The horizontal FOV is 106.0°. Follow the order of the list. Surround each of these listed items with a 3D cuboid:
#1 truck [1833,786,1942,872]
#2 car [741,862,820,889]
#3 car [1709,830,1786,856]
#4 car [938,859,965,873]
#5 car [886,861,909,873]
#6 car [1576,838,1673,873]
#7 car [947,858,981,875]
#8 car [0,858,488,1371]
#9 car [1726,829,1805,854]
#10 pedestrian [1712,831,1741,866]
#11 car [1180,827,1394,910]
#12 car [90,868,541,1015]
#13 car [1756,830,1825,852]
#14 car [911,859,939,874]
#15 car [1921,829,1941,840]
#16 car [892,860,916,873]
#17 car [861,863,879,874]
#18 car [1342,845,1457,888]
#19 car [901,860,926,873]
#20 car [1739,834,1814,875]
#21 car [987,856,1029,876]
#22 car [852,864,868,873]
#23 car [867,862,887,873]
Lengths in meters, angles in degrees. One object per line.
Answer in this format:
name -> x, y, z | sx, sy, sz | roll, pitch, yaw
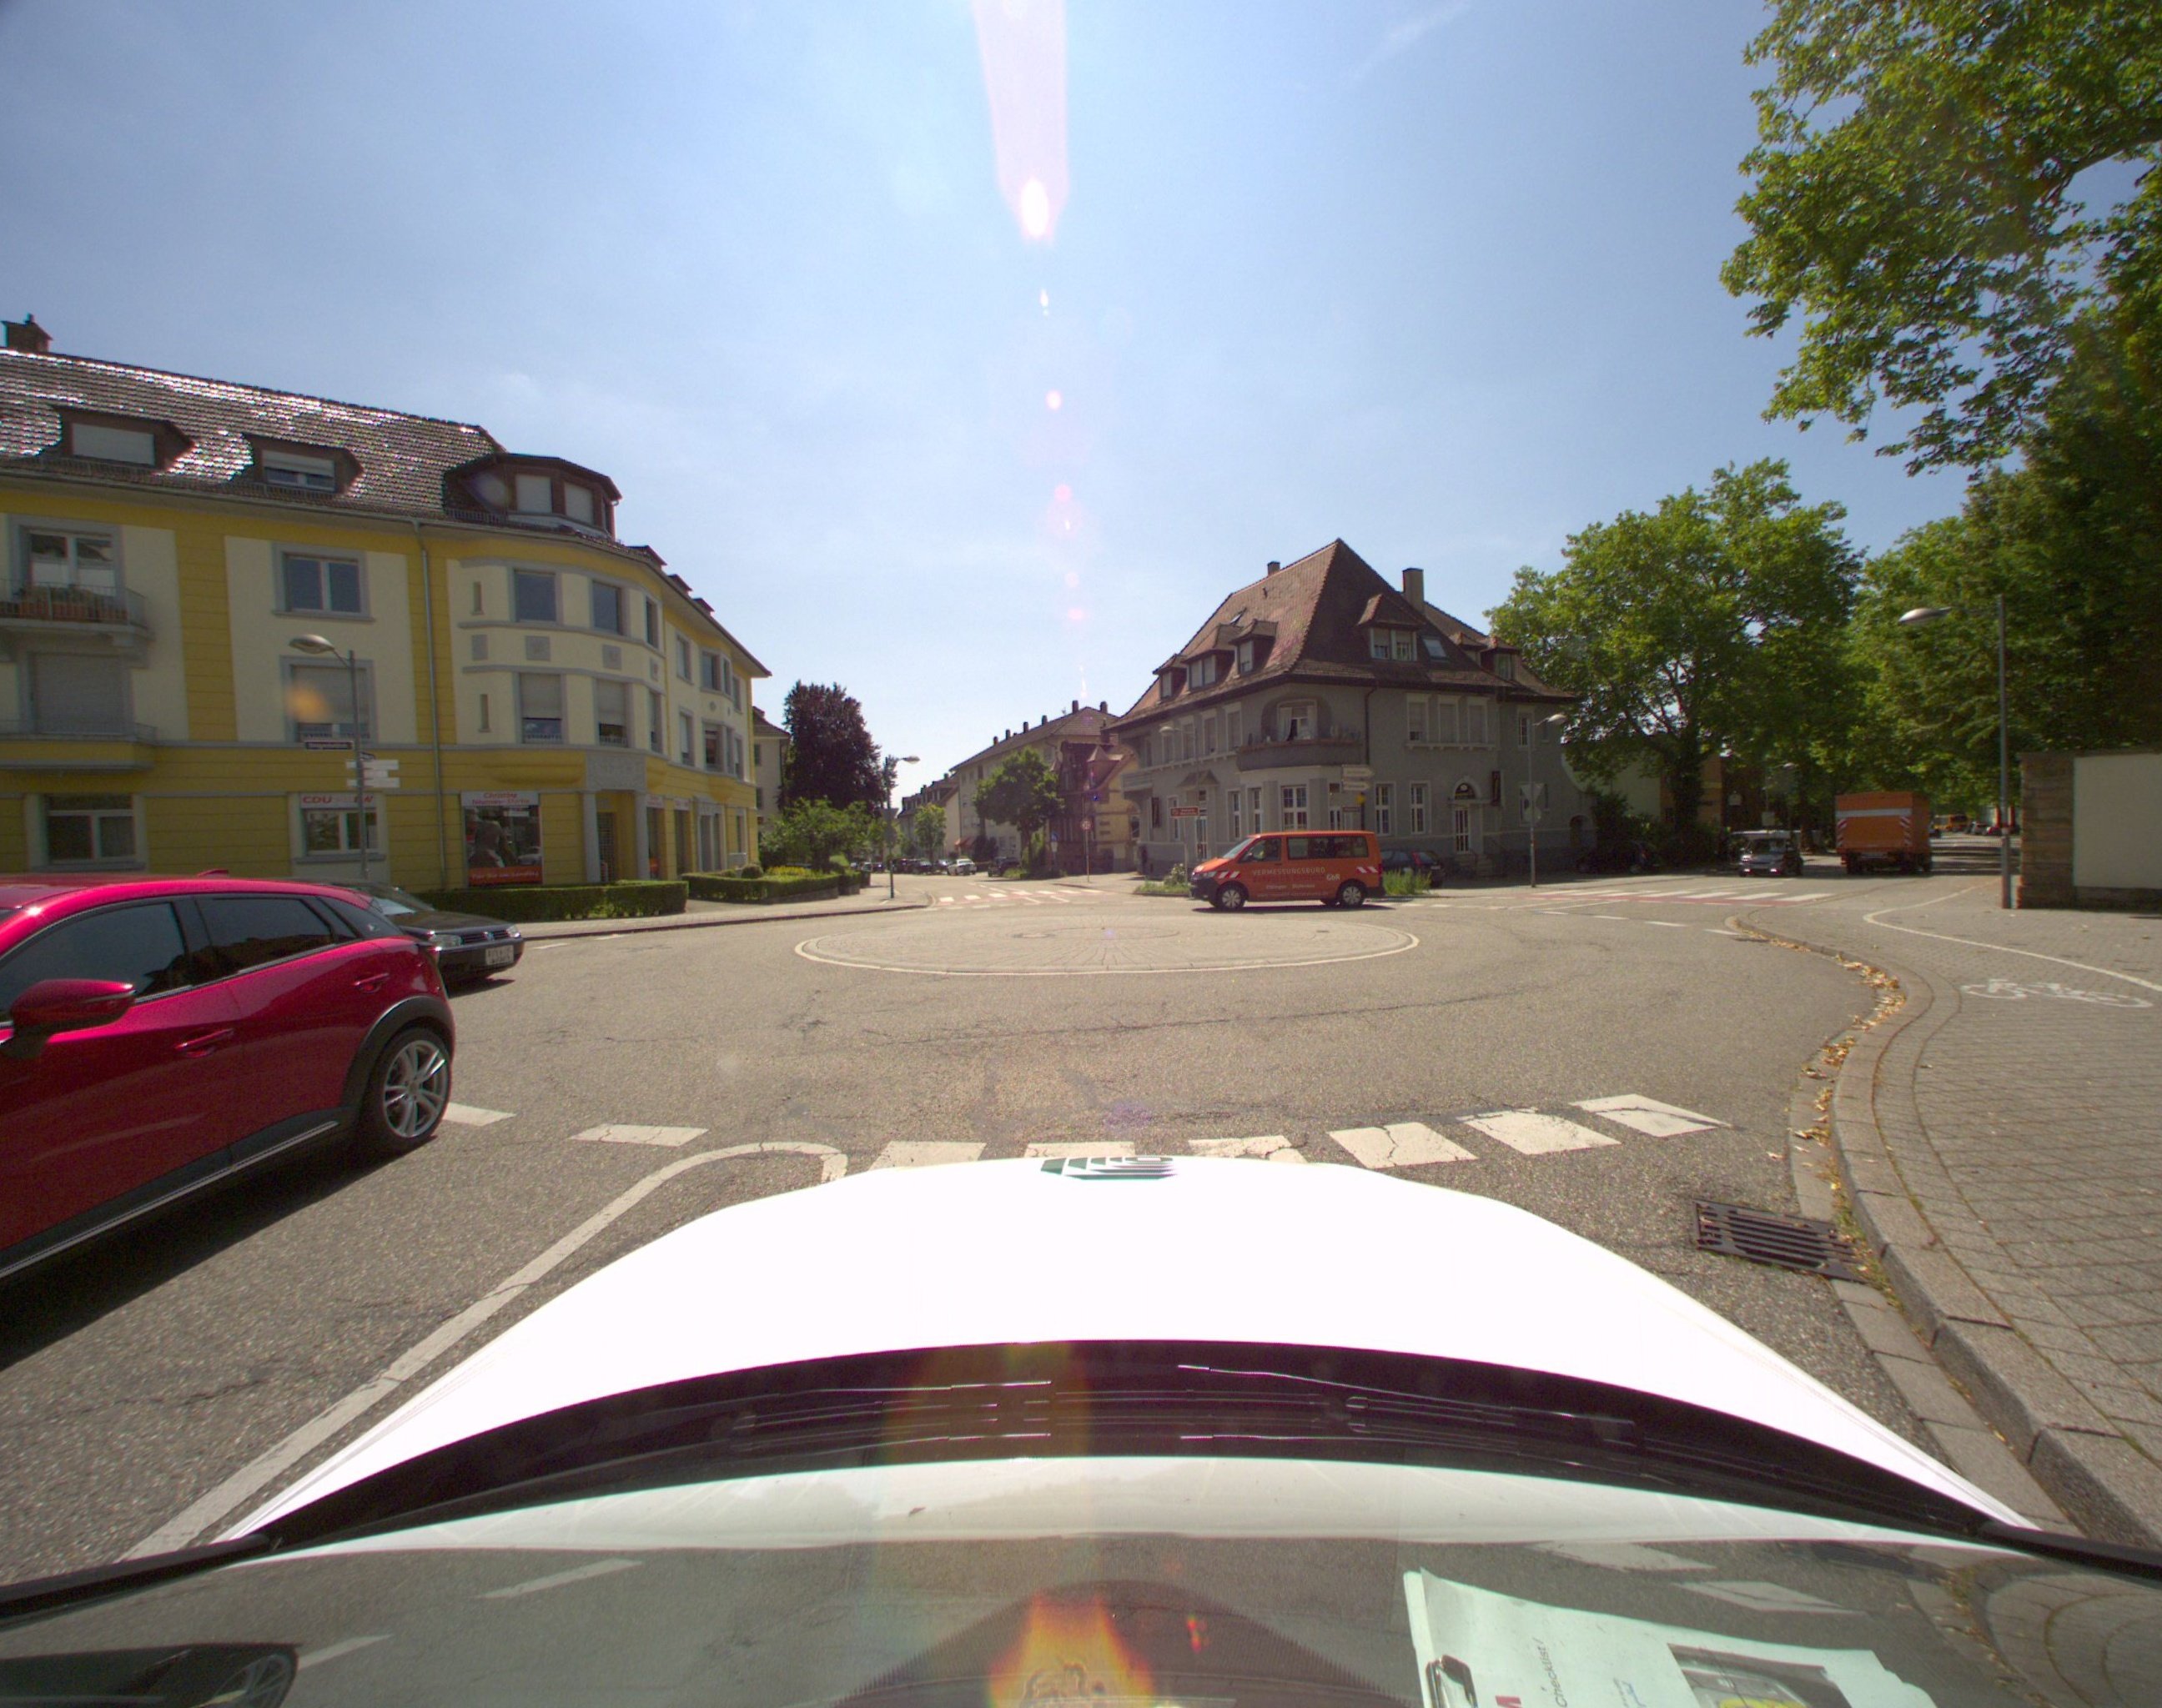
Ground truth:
truck -> 32.112, -0.888, 32.373 | 5.797, 3.134, 2.351 | 0, -1, -38
car -> -19.034, 1.313, 51.574 | 4.433, 1.509, 1.981 | -2, 0, -30
car -> 47.287, -0.811, 57.804 | 1.878, 1.792, 3.953 | -1, 2, -41
car -> -15.082, 1.412, 94.877 | 2.003, 1.509, 4.383 | -1, 0, -24
car -> -23.590, 1.631, 104.618 | 2.003, 1.509, 4.383 | -1, 0, -24
car -> 25.472, 0.078, 38.235 | 1.728, 1.546, 3.362 | -1, 0, -28
car -> -10.926, 1.167, 75.935 | 2.003, 1.509, 4.383 | -1, 0, -24
car -> -4.168, 0.801, 2.812 | 1.750, 1.504, 3.980 | -1, 0, -9
car -> 52.532, -0.984, 62.575 | 1.913, 1.804, 4.385 | -1, 2, -41
pedestrian -> 31.994, -0.273, 40.352 | 1.117, 1.742, 0.865 | -1, 0, -37
car -> 5.196, 0.338, 20.945 | 4.991, 1.959, 1.949 | -1, 0, -2
car -> -9.143, 1.007, 9.915 | 4.023, 1.447, 1.720 | -2, 1, 6
car -> 58.980, -1.121, 67.737 | 1.913, 1.804, 4.093 | -1, 2, -41
car -> -17.224, 1.388, 89.798 | 2.003, 1.509, 4.383 | -1, 0, -24
car -> 120.665, -2.794, 115.596 | 4.416, 1.426, 1.753 | -1, 0, -42
car -> -21.819, 1.499, 100.134 | 2.003, 1.509, 4.383 | -1, 0, -24
car -> -32.154, 2.166, 124.106 | 2.003, 1.509, 4.383 | -1, 0, -24
car -> 11.742, 0.448, 30.230 | 1.728, 1.460, 3.758 | -1, 0, -28
car -> -19.627, 1.447, 95.351 | 2.003, 1.509, 4.383 | -1, 0, -24
car -> 27.582, 0.023, 32.304 | 2.800, 1.530, 1.553 | -1, 0, -34
car -> -5.871, 0.970, 65.093 | 2.003, 1.509, 4.383 | -1, 0, -24
car -> -36.534, 2.366, 134.446 | 2.002, 1.488, 3.969 | 0, -1, -23
car -> -29.755, 2.021, 118.805 | 2.003, 1.509, 4.383 | -1, 0, -24
